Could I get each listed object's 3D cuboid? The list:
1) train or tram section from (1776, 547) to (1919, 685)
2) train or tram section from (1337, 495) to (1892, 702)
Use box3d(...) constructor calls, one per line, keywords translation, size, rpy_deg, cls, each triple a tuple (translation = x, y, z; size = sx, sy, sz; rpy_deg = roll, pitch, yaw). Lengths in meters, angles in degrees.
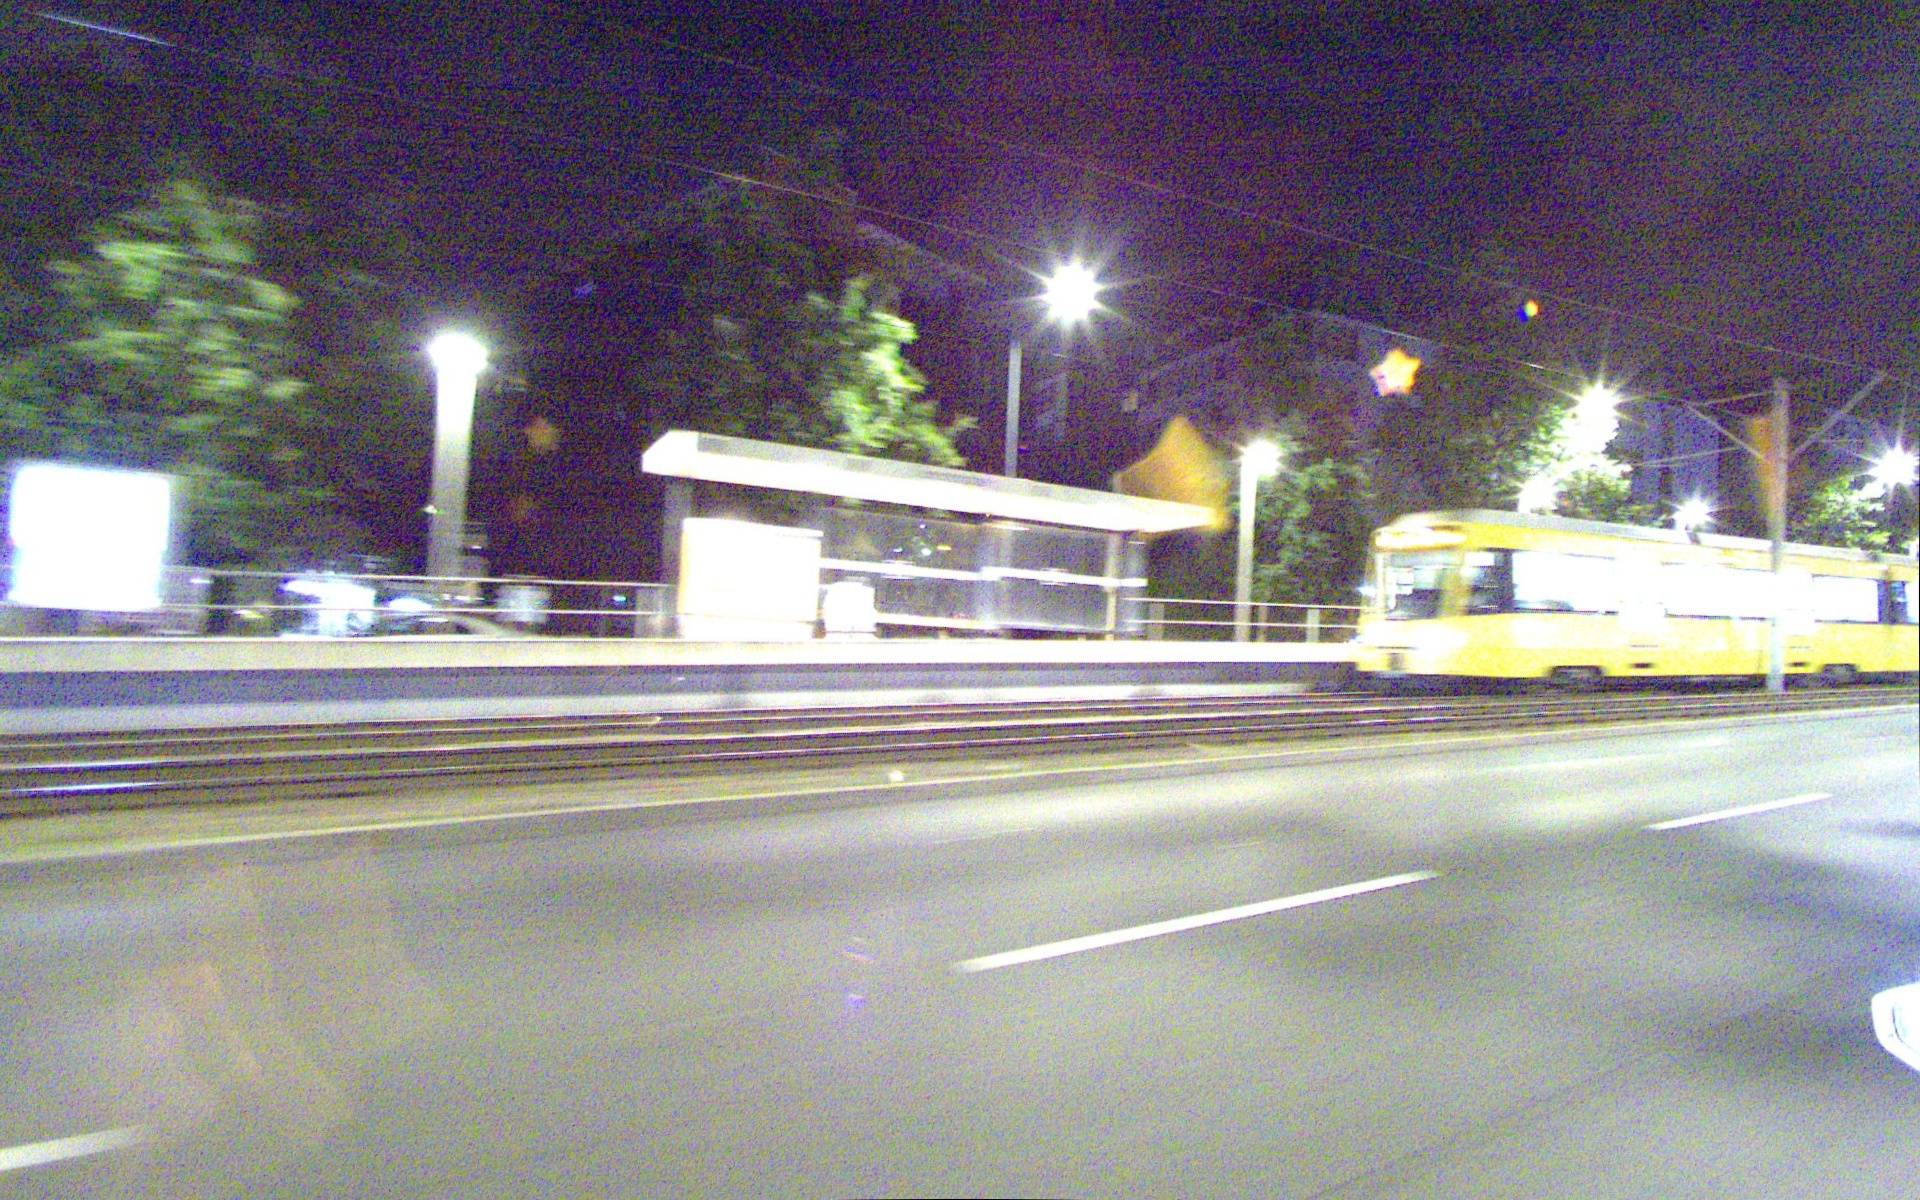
box3d(translation=(33.512, 0.686, 33.784), size=(18.442, 3.878, 2.747), rpy_deg=(2, -1, -29), cls="train or tram section")
box3d(translation=(17.044, 0.226, 24.711), size=(19.125, 3.897, 2.727), rpy_deg=(2, -1, -29), cls="train or tram section")
